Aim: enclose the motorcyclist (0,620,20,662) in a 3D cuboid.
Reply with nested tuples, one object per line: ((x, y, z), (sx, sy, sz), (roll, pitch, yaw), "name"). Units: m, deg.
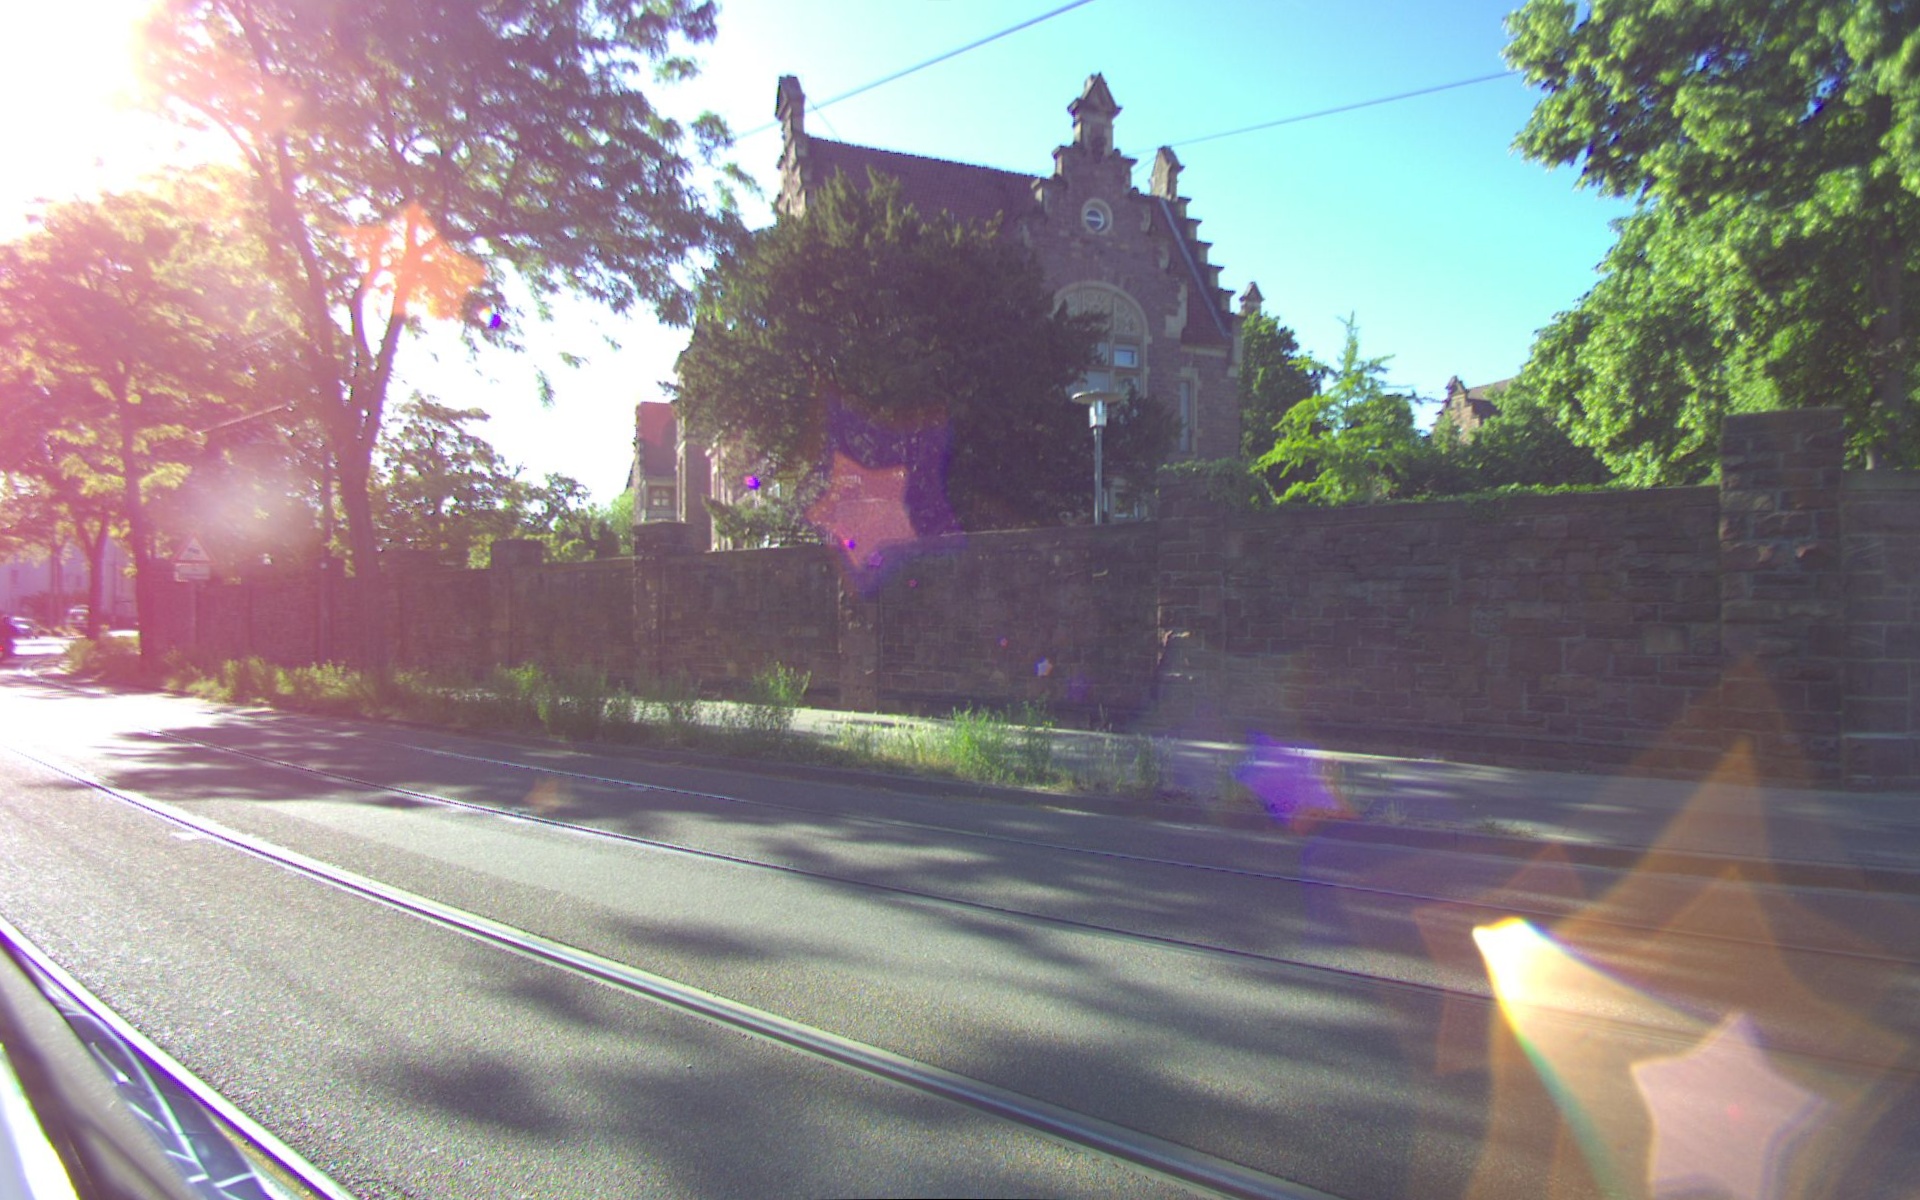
((-32.488, 1.388, 34.290), (0.908, 1.393, 0.879), (-2, -1, 43), "motorcyclist")

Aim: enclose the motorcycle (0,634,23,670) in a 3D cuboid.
((-32.471, 1.742, 34.274), (2.429, 1.162, 0.901), (-1, -1, 43), "motorcycle")
